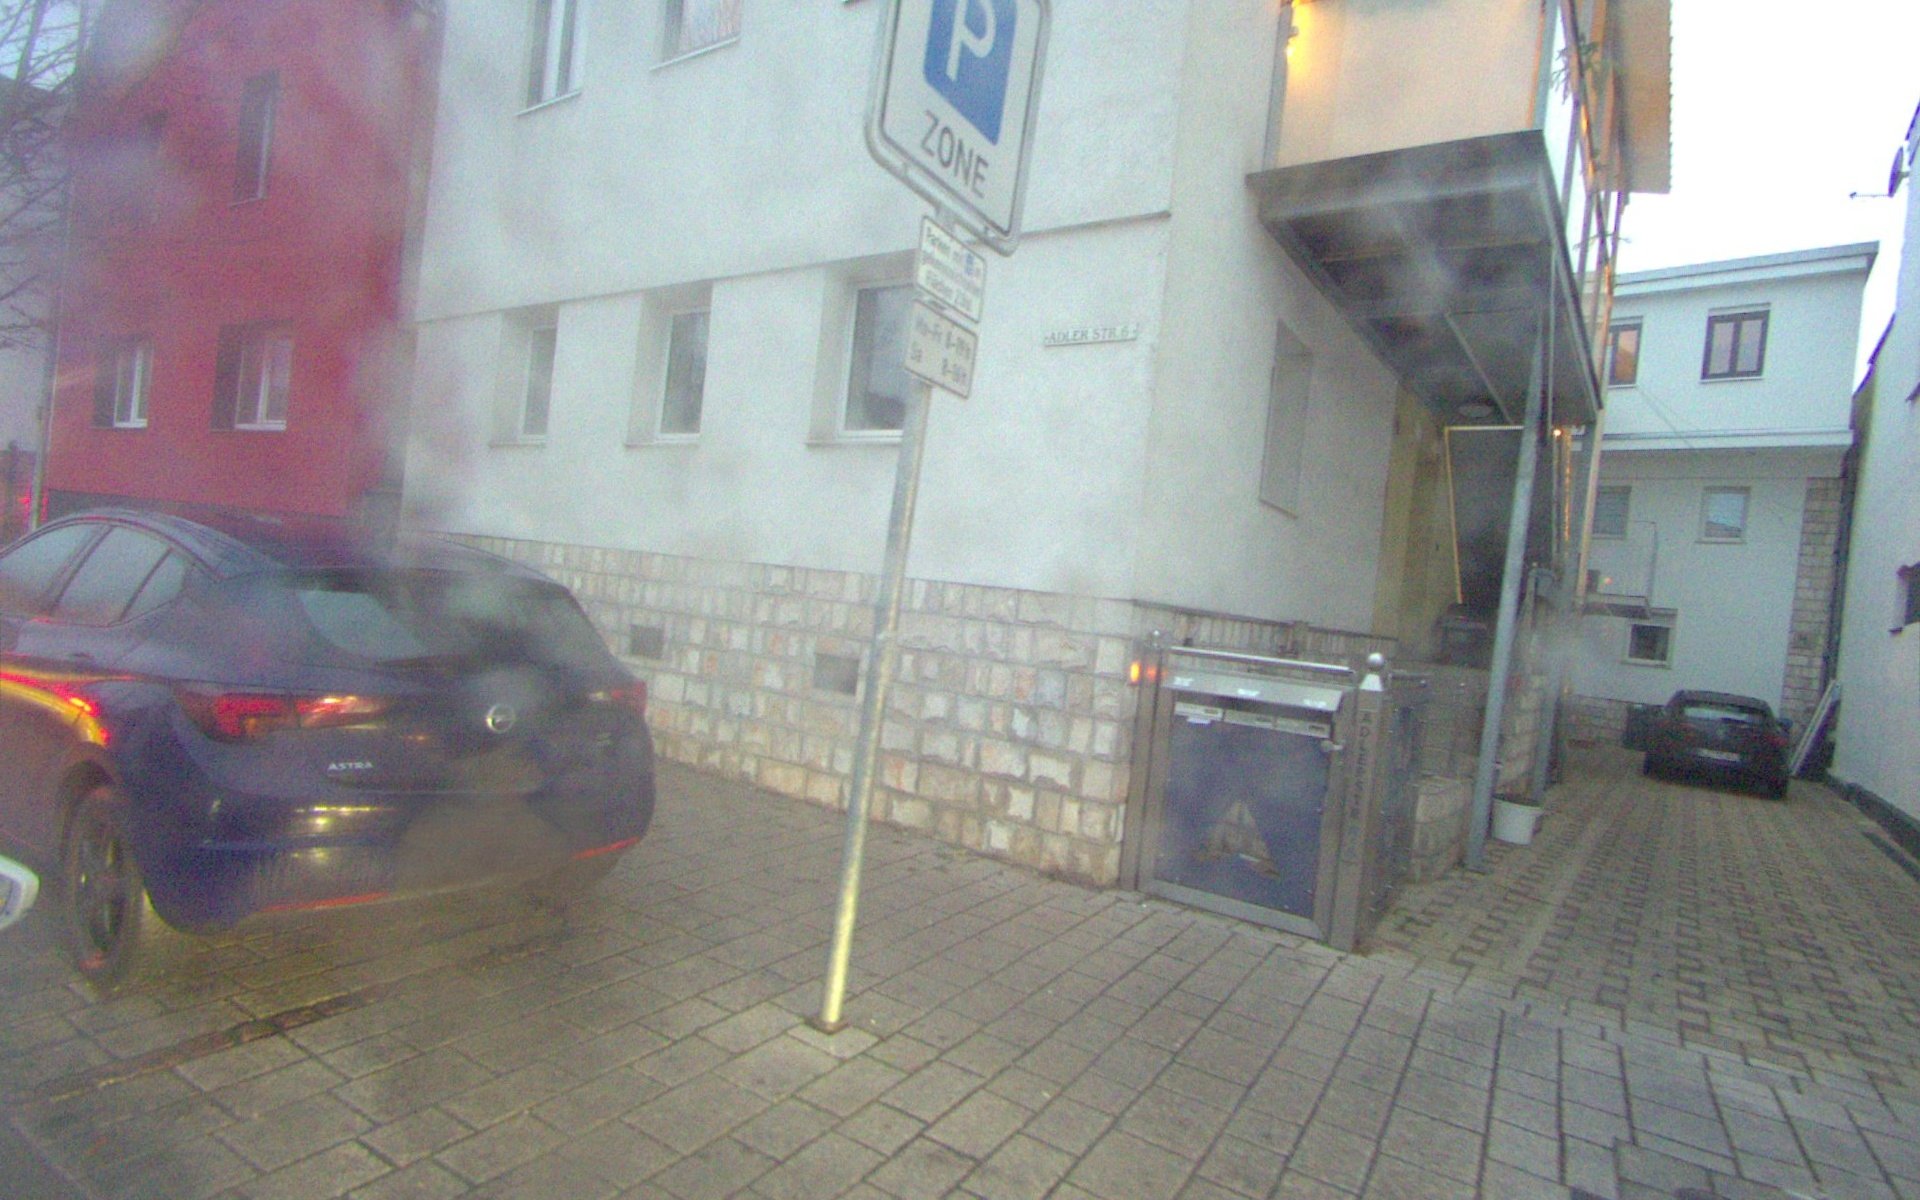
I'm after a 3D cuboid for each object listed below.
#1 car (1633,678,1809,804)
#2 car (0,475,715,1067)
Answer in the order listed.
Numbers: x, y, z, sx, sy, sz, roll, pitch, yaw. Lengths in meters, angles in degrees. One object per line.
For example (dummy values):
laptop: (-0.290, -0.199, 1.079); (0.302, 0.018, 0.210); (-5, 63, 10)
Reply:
car: (12.325, 2.191, 16.551); (1.906, 1.434, 3.949); (9, 2, 34)
car: (-3.196, 0.305, 4.416); (4.131, 1.484, 1.727); (6, 2, 34)
